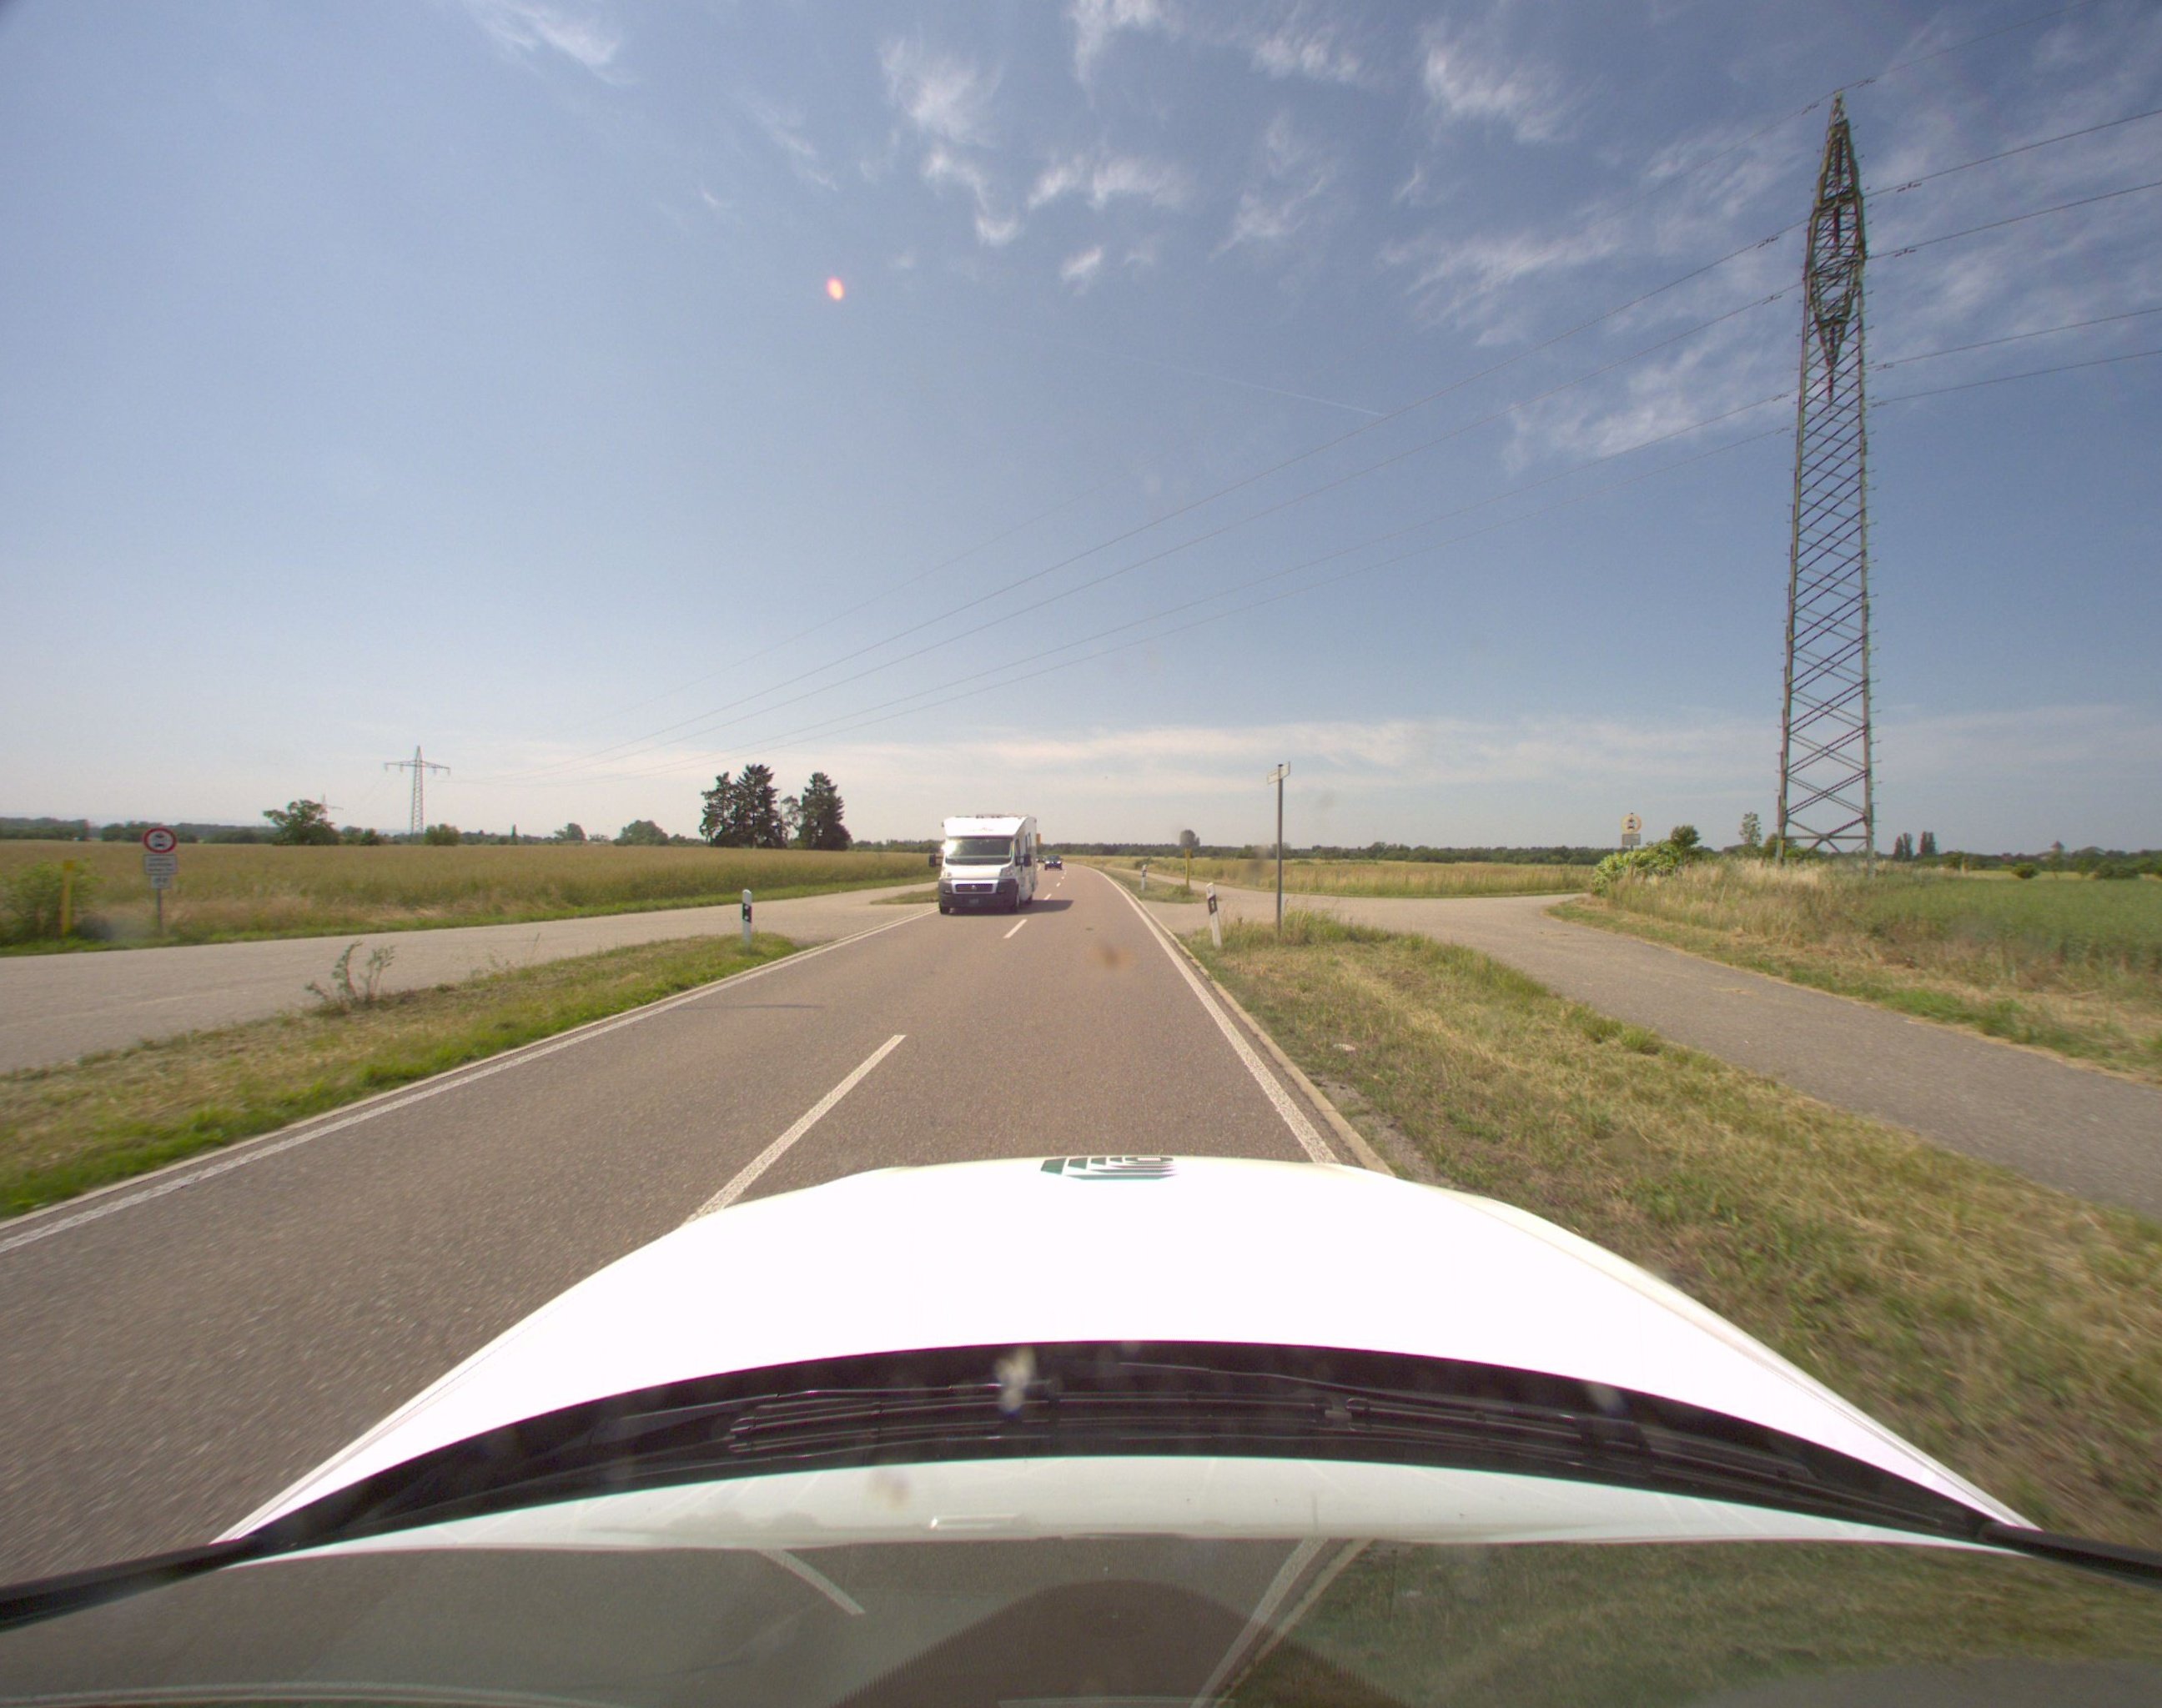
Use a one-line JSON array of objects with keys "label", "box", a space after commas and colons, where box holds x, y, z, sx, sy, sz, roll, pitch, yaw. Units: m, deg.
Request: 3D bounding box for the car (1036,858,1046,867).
[{"label": "car", "box": [-7.401, 1.627, 150.444, 1.706, 1.586, 3.502, -1, -1, 0]}]

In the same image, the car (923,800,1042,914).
[{"label": "car", "box": [-2.657, 0.083, 24.284, 2.388, 2.847, 7.631, 0, 0, 2]}]

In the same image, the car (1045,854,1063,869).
[{"label": "car", "box": [-2.679, 0.767, 81.189, 1.618, 1.491, 3.999, -1, -1, 0]}]
